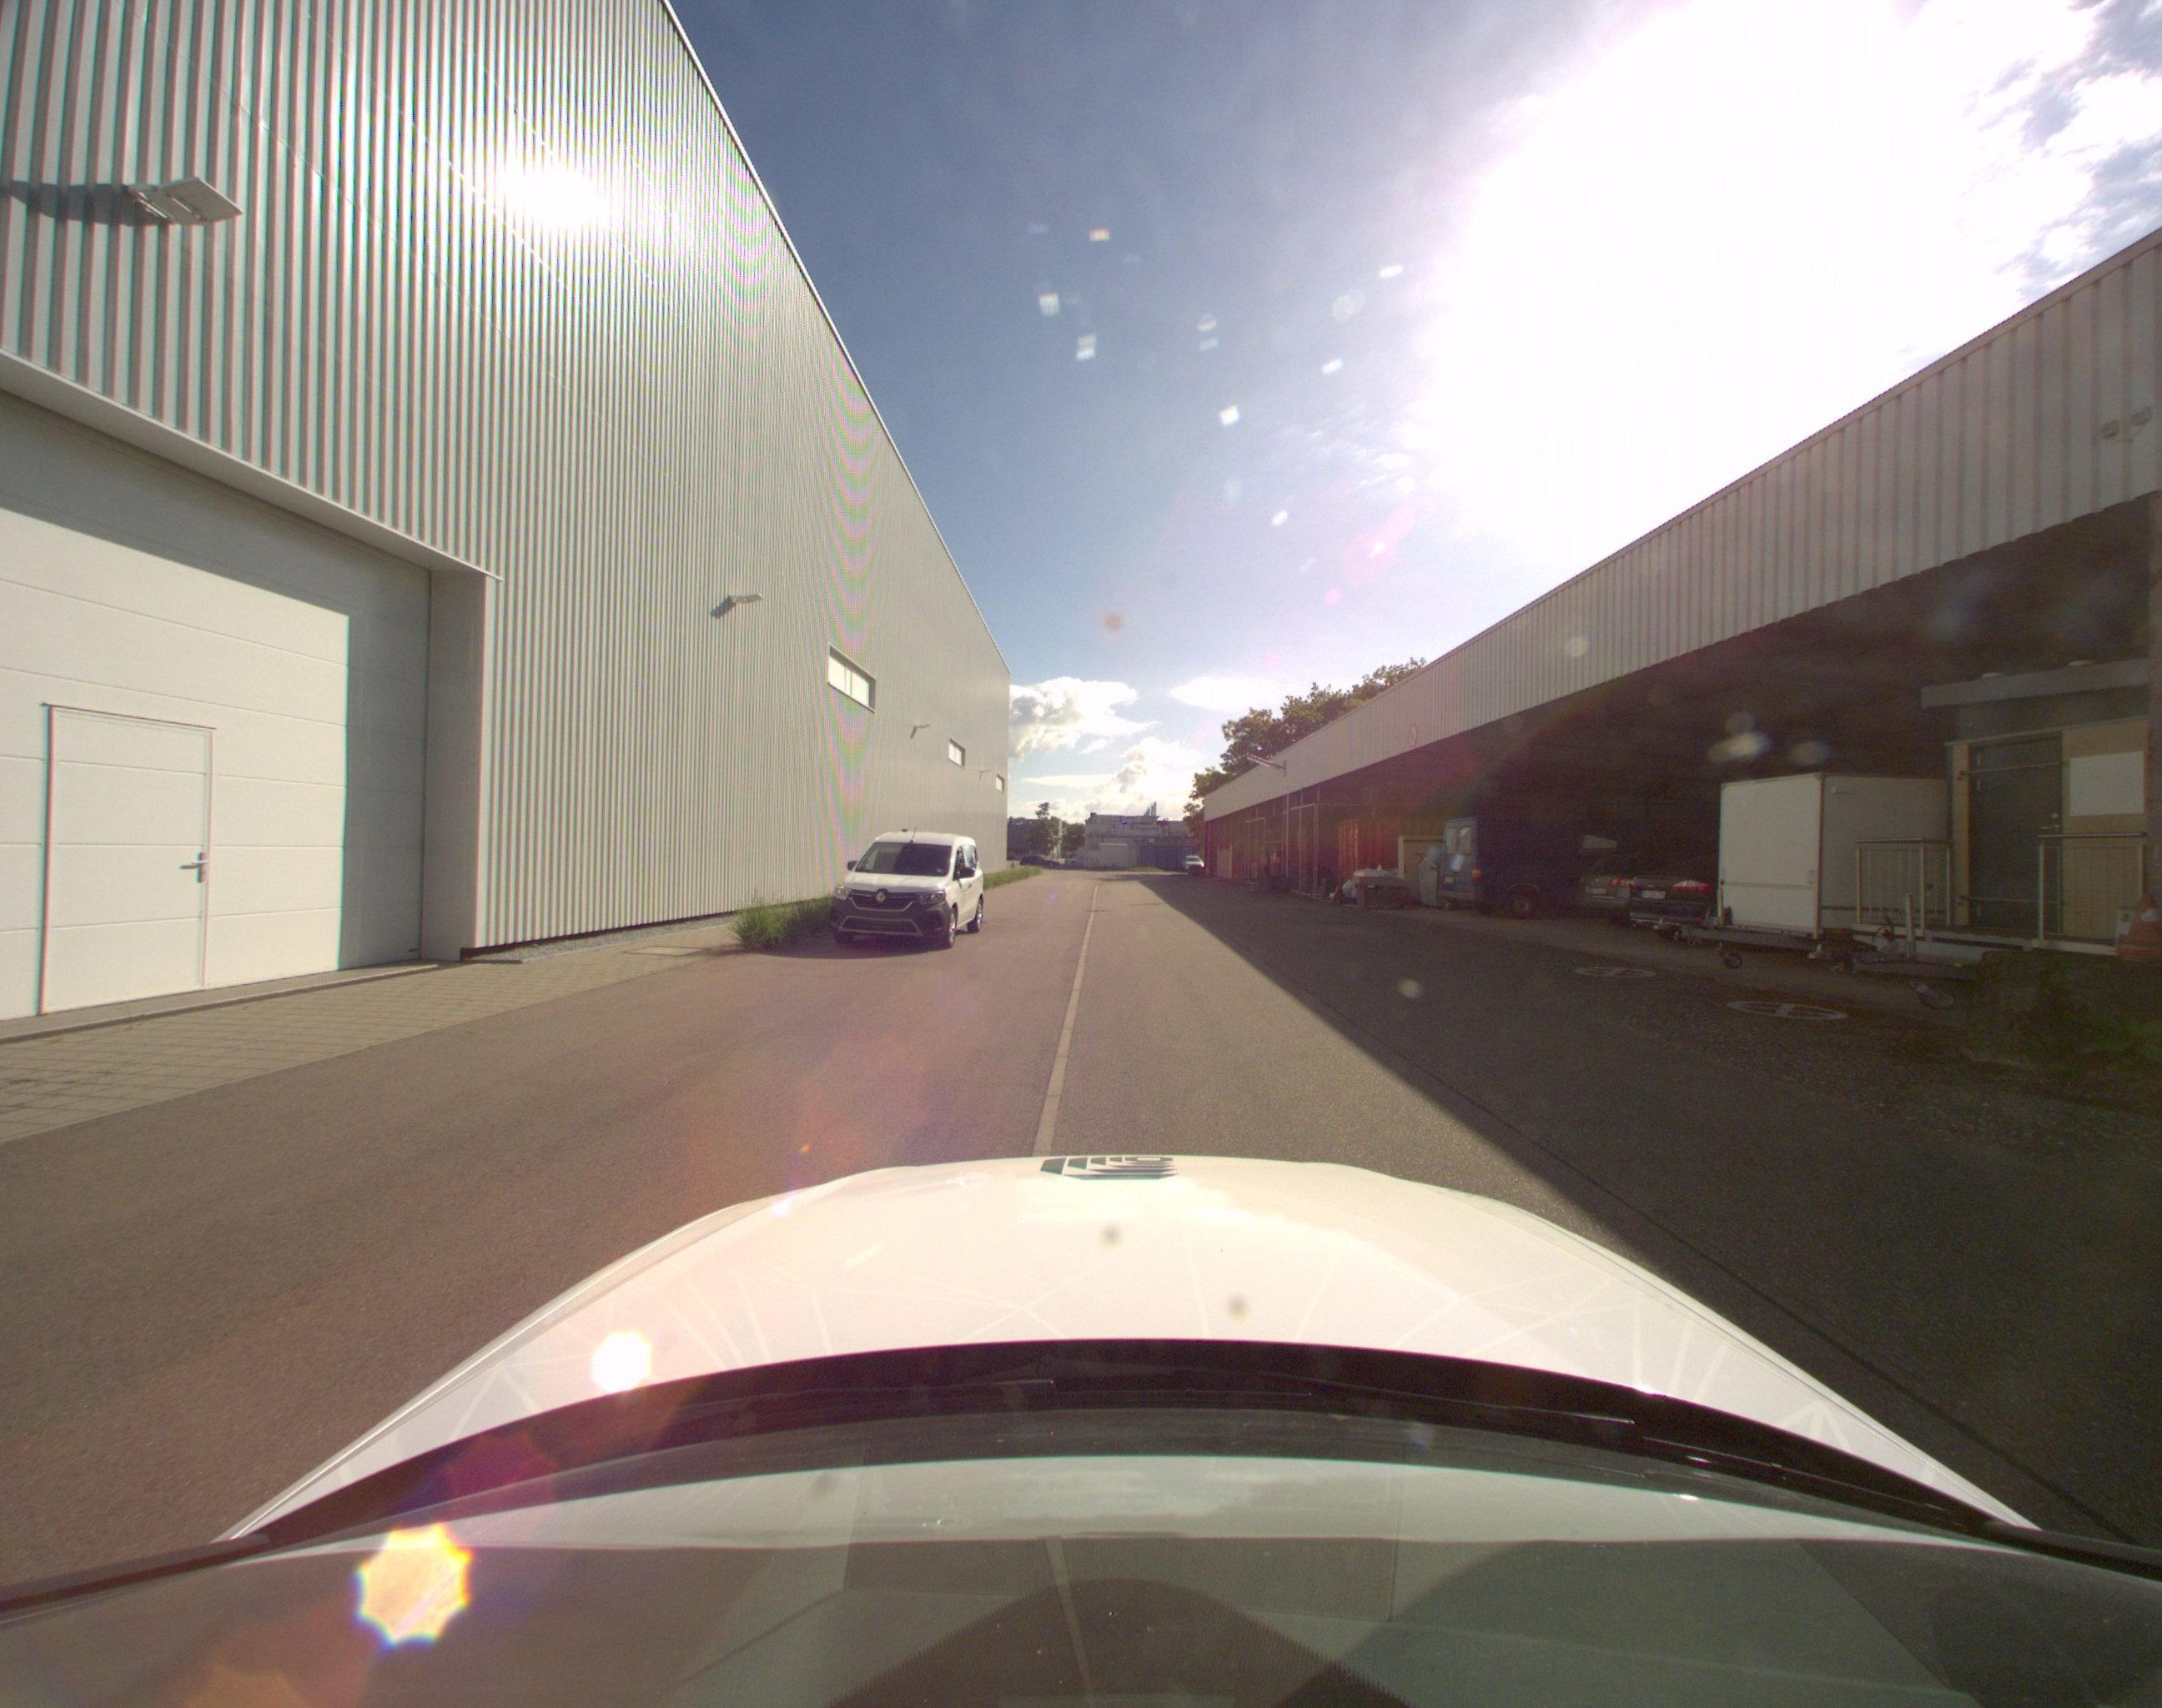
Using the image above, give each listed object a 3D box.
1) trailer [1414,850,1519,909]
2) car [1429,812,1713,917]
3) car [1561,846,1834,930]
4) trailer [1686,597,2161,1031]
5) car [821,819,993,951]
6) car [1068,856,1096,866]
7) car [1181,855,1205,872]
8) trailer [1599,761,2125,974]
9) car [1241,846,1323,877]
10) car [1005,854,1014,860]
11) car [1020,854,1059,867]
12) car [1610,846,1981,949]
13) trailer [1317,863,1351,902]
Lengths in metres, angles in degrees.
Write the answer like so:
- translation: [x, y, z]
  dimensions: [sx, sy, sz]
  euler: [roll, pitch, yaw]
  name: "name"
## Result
- translation: [10.143, 0.648, 21.543]
  dimensions: [2.028, 1.466, 1.741]
  euler: [-1, 0, 5]
  name: "trailer"
- translation: [11.187, 0.244, 18.914]
  dimensions: [5.314, 2.281, 2.153]
  euler: [0, -1, 0]
  name: "car"
- translation: [11.775, 0.631, 15.746]
  dimensions: [3.953, 1.514, 1.839]
  euler: [0, -1, -2]
  name: "car"
- translation: [11.862, -0.360, 7.610]
  dimensions: [10.229, 3.343, 2.802]
  euler: [-1, 0, 1]
  name: "trailer"
- translation: [-2.736, 0.463, 13.940]
  dimensions: [1.777, 1.816, 4.602]
  euler: [2, -1, 1]
  name: "car"
- translation: [0.158, 1.015, 123.783]
  dimensions: [4.287, 1.457, 1.824]
  euler: [0, -1, 1]
  name: "car"
- translation: [11.417, 0.912, 83.226]
  dimensions: [1.971, 1.602, 4.381]
  euler: [-1, 1, 3]
  name: "car"
- translation: [9.373, 0.170, 10.146]
  dimensions: [4.498, 2.342, 2.048]
  euler: [-1, -1, 2]
  name: "trailer"
- translation: [12.973, 0.481, 52.731]
  dimensions: [4.764, 1.916, 1.995]
  euler: [1, -1, -7]
  name: "car"
- translation: [-16.757, 0.666, 191.542]
  dimensions: [1.852, 1.494, 4.028]
  euler: [-1, -1, 0]
  name: "car"
- translation: [-4.844, 0.765, 95.962]
  dimensions: [4.432, 1.531, 1.824]
  euler: [0, -1, 1]
  name: "car"
- translation: [10.920, 0.633, 12.674]
  dimensions: [4.236, 1.471, 1.869]
  euler: [0, 0, -2]
  name: "car"
- translation: [7.652, 0.845, 24.694]
  dimensions: [0.550, 1.118, 1.546]
  euler: [-1, -1, 0]
  name: "trailer"
